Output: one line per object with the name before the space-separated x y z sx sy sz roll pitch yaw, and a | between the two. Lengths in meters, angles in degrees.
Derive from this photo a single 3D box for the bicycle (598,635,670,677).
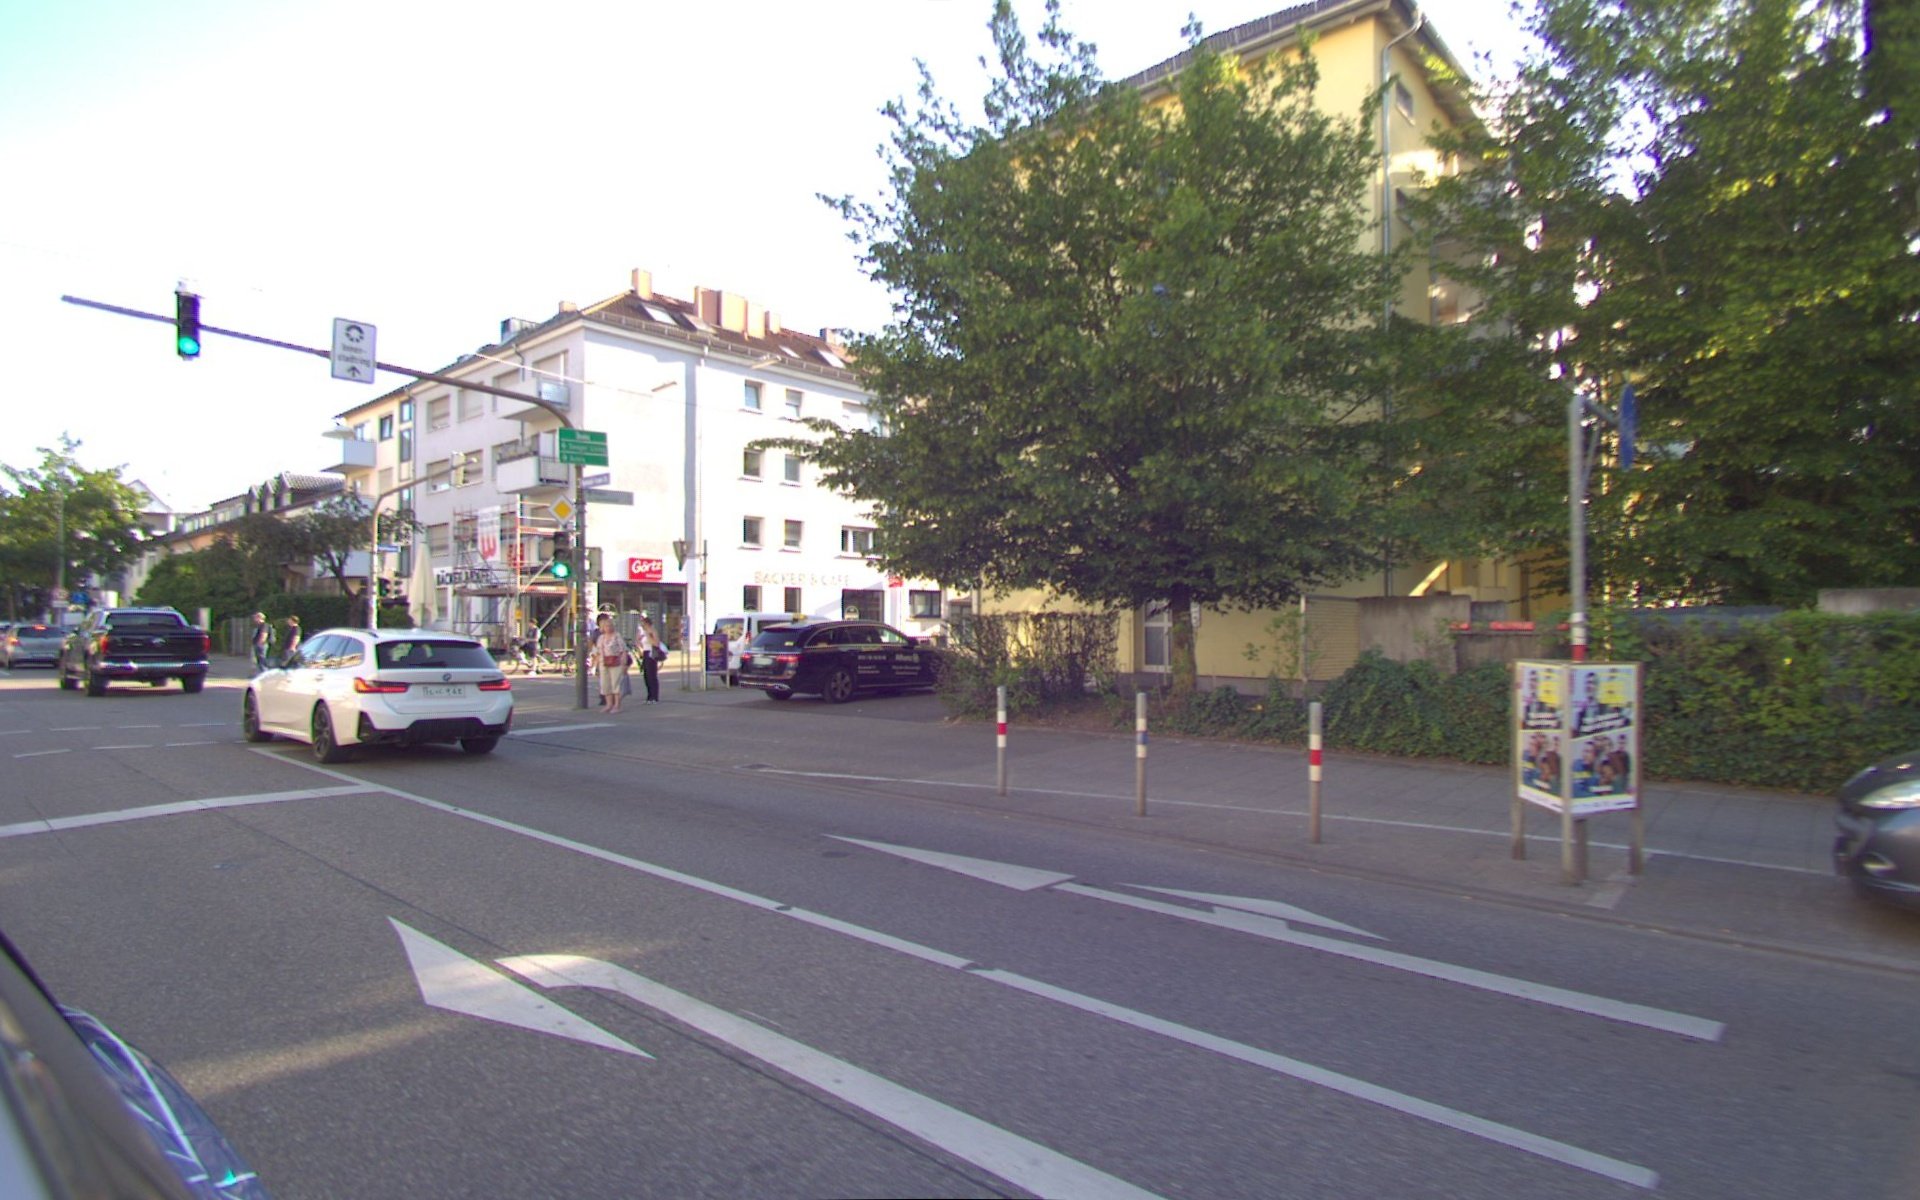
bicycle | -9.592 1.622 29.817 0.726 1.166 1.975 -2 -2 35

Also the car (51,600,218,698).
car | -17.721 1.007 21.632 5.224 1.844 1.842 -1 -3 41

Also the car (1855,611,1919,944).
car | 6.140 0.773 3.924 3.943 1.490 1.635 -1 -2 43

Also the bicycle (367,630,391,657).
bicycle | -22.608 1.689 39.393 1.478 1.022 0.433 -1 -2 45

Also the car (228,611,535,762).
car | -7.102 0.922 12.197 4.670 1.485 1.817 -1 -3 42

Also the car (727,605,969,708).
car | -1.979 0.960 19.089 1.841 1.626 4.545 -1 0 39

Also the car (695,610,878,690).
car | -4.339 1.207 25.892 1.907 1.862 4.425 -1 -2 41

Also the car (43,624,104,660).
car | -40.118 1.871 45.757 3.572 1.547 1.732 -1 -2 43

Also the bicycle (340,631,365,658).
bicycle | -23.320 1.703 38.838 1.478 1.022 0.433 -1 -2 45

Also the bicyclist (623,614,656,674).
bicyclist | -9.501 1.292 29.963 0.748 1.734 0.601 -3 -2 36

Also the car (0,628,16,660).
car | -42.602 1.892 44.098 4.441 1.330 1.821 -1 -2 43

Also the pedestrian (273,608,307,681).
pedestrian | -19.096 1.260 28.845 0.814 2.029 0.637 0 0 43

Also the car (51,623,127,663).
car | -36.733 1.766 42.662 3.947 1.626 1.787 -1 -1 39

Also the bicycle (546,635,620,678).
bicycle | -10.936 1.616 29.413 0.726 1.175 1.975 -3 -2 35

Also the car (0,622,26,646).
car | -65.032 2.298 68.861 4.409 1.626 1.817 -1 -2 42

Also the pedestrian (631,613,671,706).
pedestrian | -5.741 1.084 18.829 0.598 1.641 0.752 -2 2 -12

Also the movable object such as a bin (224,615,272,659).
movable object such as a bin | -29.174 1.510 41.474 1.180 1.670 1.292 0 3 41

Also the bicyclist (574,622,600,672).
bicyclist | -12.439 1.569 33.738 0.677 1.606 0.752 2 0 -29

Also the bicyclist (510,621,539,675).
bicyclist | -13.596 1.490 31.561 0.662 1.666 0.751 1 -3 -38

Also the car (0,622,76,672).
car | -31.292 1.533 34.134 3.999 1.569 1.785 -1 -1 42

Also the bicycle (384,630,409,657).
bicycle | -22.174 1.697 39.824 1.478 1.022 0.433 -1 -2 45

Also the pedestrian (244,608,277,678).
pedestrian | -20.490 1.251 29.651 0.739 2.029 0.630 -1 -2 43

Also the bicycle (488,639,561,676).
bicycle | -13.569 1.790 31.572 1.967 1.097 0.729 1 -3 -39

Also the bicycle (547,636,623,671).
bicycle | -12.488 1.776 33.714 2.233 1.097 0.730 2 0 -29

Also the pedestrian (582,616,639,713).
pedestrian | -5.983 1.083 17.341 0.749 1.606 0.601 0 1 39

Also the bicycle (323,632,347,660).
bicycle | -23.748 1.733 38.417 1.478 1.022 0.433 -1 -2 45

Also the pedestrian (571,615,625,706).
pedestrian | -6.830 1.123 19.096 0.607 1.670 0.741 -1 -2 35
